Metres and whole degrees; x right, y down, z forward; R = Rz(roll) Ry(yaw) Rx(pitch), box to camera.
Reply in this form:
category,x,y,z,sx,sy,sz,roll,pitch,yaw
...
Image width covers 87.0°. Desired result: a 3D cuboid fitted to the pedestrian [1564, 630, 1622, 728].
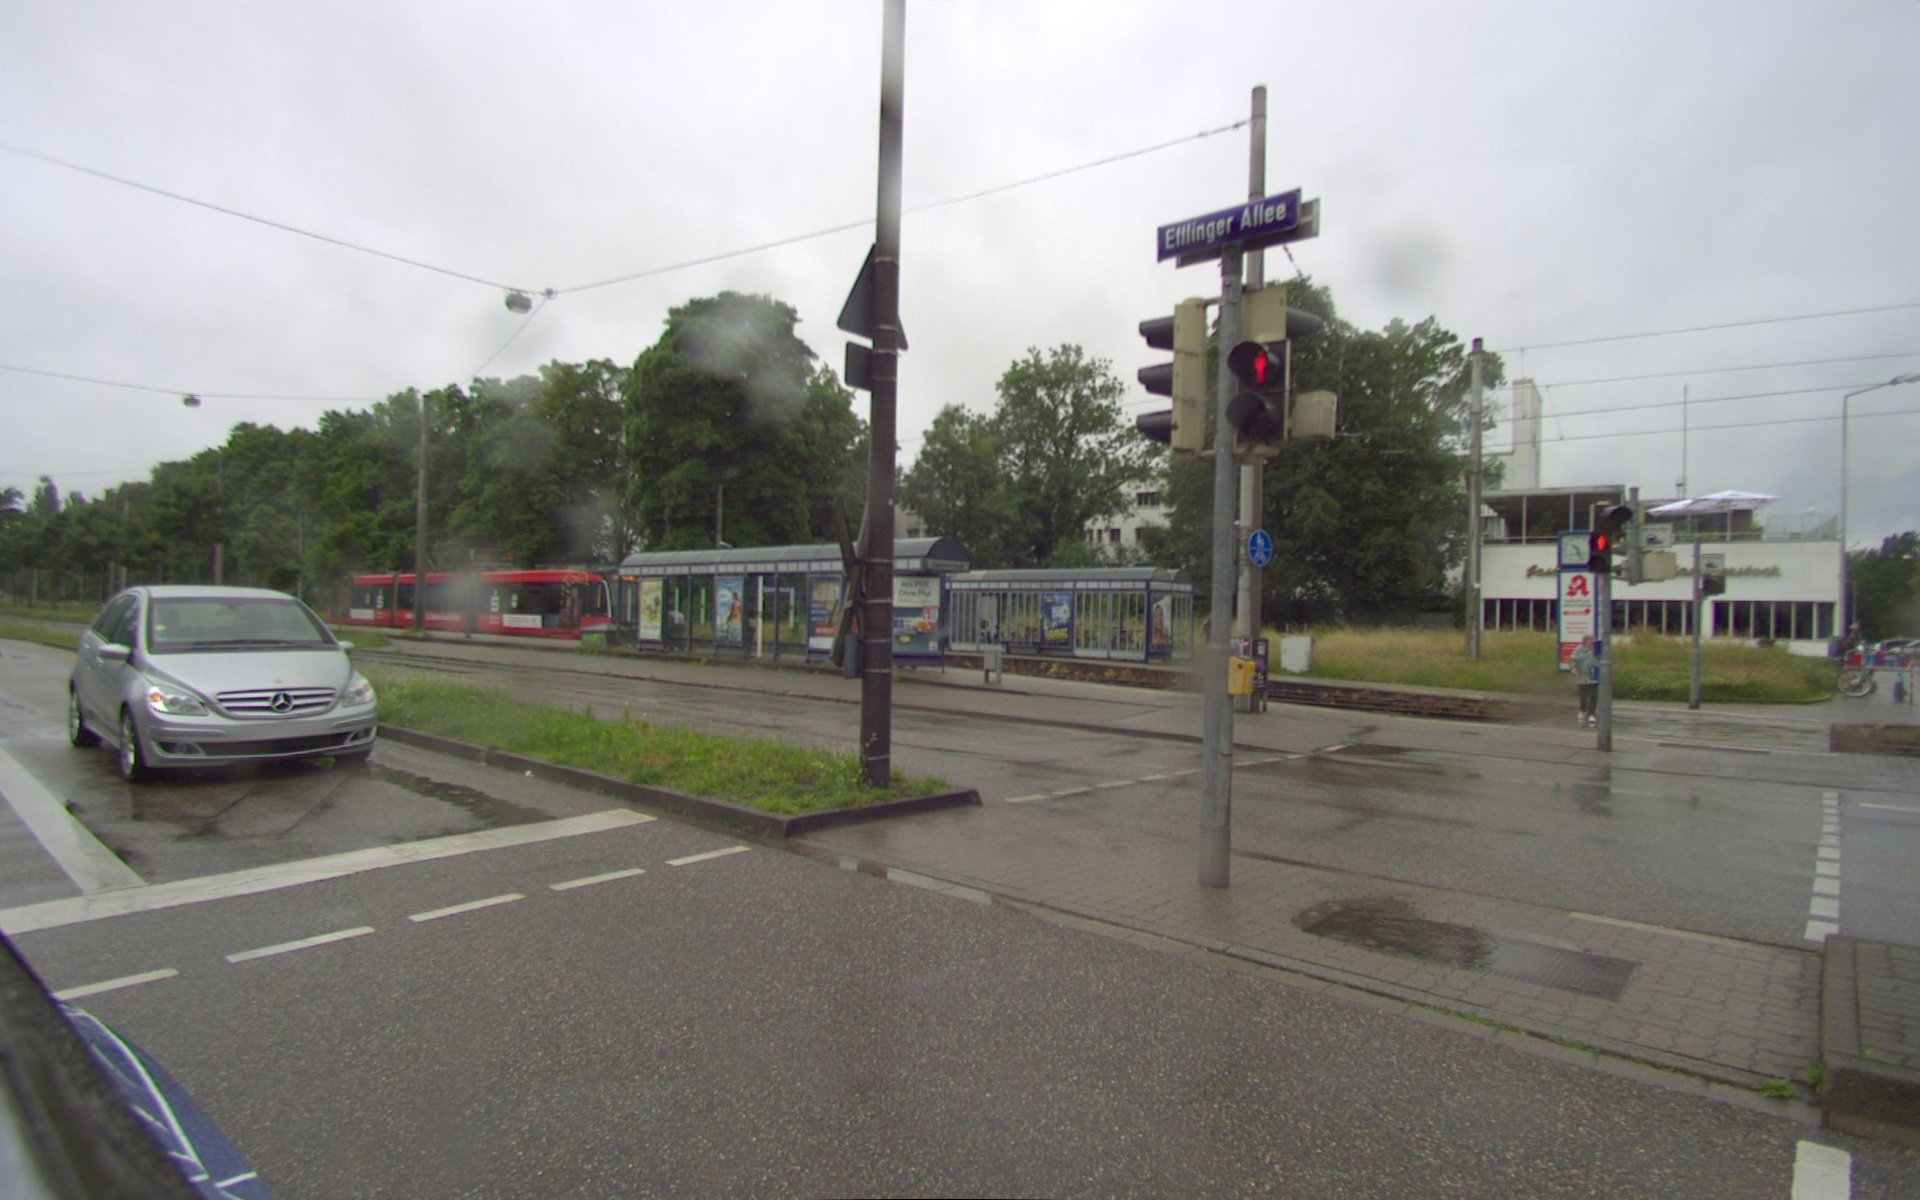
category,x,y,z,sx,sy,sz,roll,pitch,yaw
pedestrian,11.509,1.412,18.401,0.782,1.670,0.794,1,1,39

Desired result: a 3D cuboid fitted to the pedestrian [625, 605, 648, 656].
category,x,y,z,sx,sy,sz,roll,pitch,yaw
pedestrian,-10.095,0.936,31.582,0.514,1.573,0.603,0,1,-34

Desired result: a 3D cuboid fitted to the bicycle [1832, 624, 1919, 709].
category,x,y,z,sx,sy,sz,roll,pitch,yaw
bicycle,20.130,1.420,22.027,1.734,1.774,0.633,0,-2,43

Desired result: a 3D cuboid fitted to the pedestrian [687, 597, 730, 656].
category,x,y,z,sx,sy,sz,roll,pitch,yaw
pedestrian,-7.126,0.743,28.667,0.929,1.609,0.795,0,-1,45

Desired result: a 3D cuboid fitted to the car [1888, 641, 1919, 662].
category,x,y,z,sx,sy,sz,roll,pitch,yaw
car,87.745,4.750,92.552,3.991,1.716,1.853,1,1,35

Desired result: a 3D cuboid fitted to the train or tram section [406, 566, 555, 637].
category,x,y,z,sx,sy,sz,roll,pitch,yaw
train or tram section,-25.699,0.109,53.948,10.260,3.426,3.495,0,-1,42

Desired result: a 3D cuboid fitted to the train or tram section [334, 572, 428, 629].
category,x,y,z,sx,sy,sz,roll,pitch,yaw
train or tram section,-36.669,0.059,63.998,5.769,3.444,3.495,0,-1,42

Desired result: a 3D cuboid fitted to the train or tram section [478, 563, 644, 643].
category,x,y,z,sx,sy,sz,roll,pitch,yaw
train or tram section,-19.011,0.144,47.837,9.277,3.416,3.495,0,-1,42

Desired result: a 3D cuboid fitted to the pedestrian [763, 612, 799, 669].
category,x,y,z,sx,sy,sz,roll,pitch,yaw
pedestrian,-4.690,1.051,26.545,0.699,1.464,0.618,0,-2,44

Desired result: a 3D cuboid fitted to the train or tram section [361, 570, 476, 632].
category,x,y,z,sx,sy,sz,roll,pitch,yaw
train or tram section,-32.021,0.075,59.737,7.902,3.438,3.495,0,-1,42

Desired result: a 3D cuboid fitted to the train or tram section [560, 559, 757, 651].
category,x,y,z,sx,sy,sz,roll,pitch,yaw
train or tram section,-12.693,0.198,42.031,9.277,3.415,3.495,0,-1,42

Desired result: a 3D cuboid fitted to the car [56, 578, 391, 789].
category,x,y,z,sx,sy,sz,roll,pitch,yaw
car,-6.979,0.605,9.434,4.012,1.556,1.718,0,0,42

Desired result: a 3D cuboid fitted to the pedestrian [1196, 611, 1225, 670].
category,x,y,z,sx,sy,sz,roll,pitch,yaw
pedestrian,7.947,1.271,32.151,0.680,1.806,0.623,1,1,41
